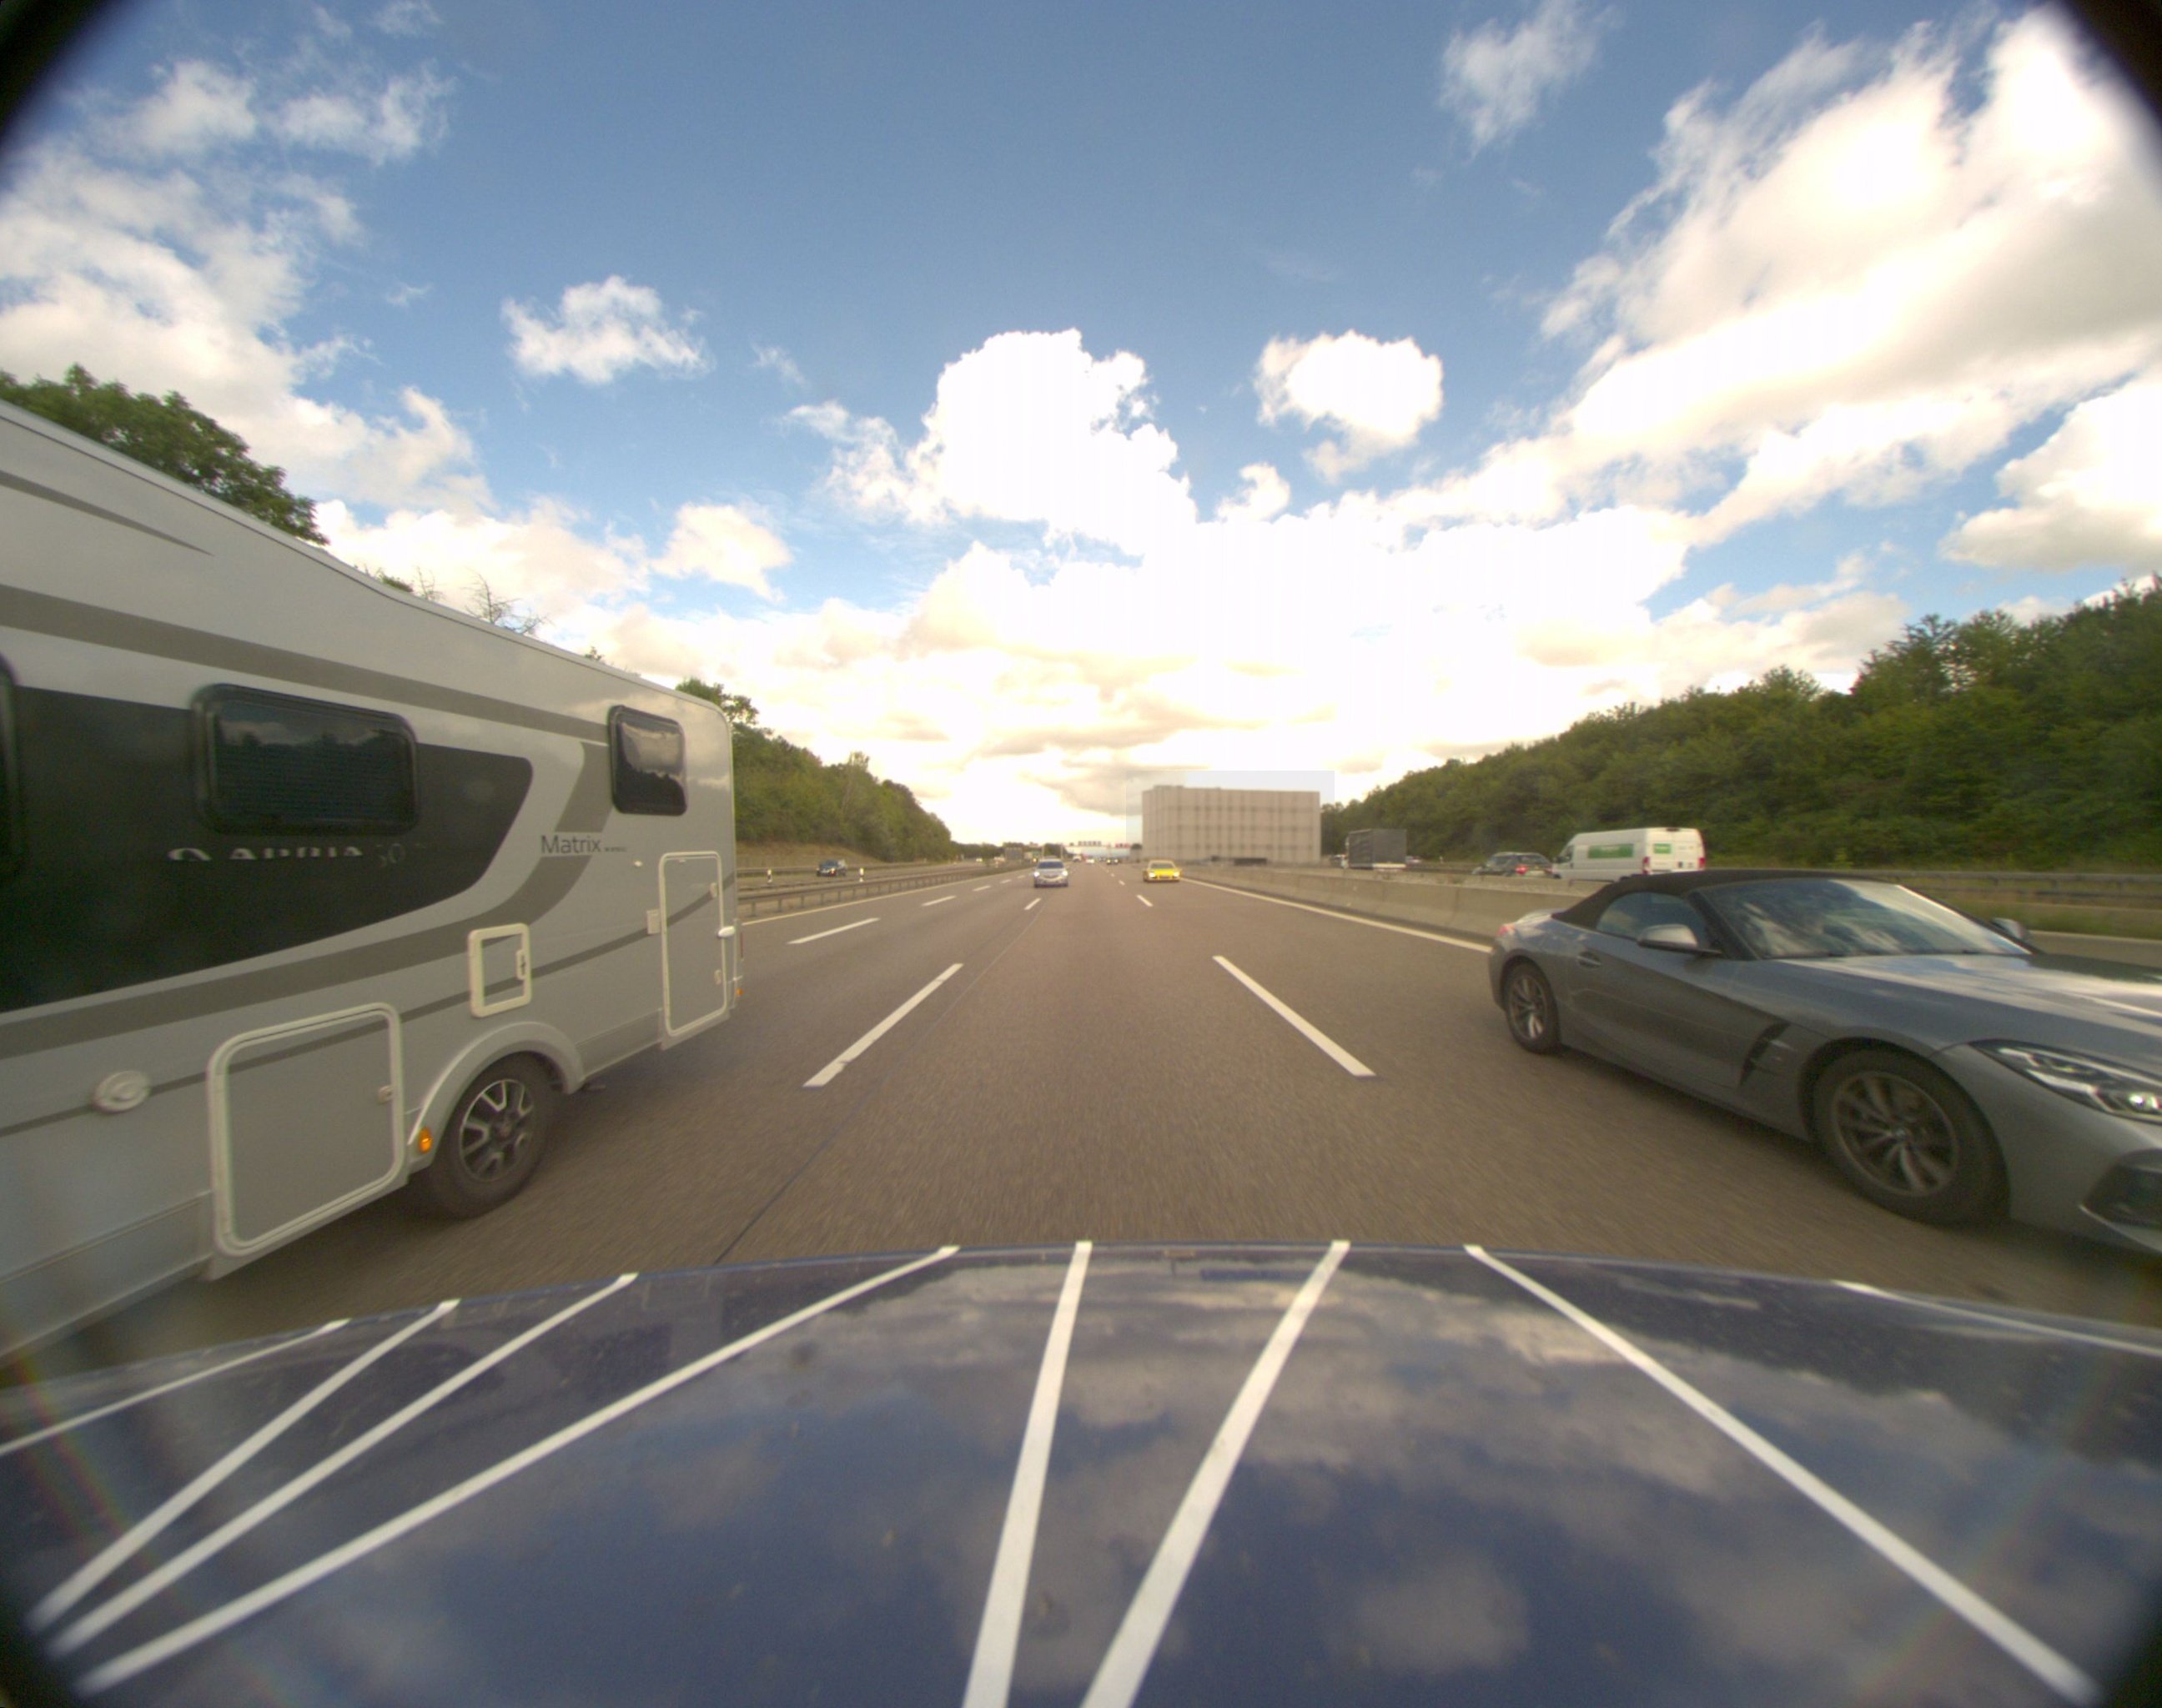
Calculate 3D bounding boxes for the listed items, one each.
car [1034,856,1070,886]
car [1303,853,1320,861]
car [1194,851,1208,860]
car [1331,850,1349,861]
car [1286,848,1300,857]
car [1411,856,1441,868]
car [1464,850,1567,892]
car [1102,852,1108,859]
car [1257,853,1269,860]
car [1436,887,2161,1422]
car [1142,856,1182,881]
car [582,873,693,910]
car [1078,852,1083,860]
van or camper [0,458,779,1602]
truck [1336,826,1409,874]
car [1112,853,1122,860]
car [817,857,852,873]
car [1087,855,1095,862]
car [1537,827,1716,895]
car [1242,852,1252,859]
[{"bbox_3d":[-1.505,0.861,41.015,1.687,1.476,4.616,-1,0,0],"label":"car"},{"bbox_3d":[46.436,0.670,153.154,1.739,1.624,4.947,0,0,0],"label":"car"},{"bbox_3d":[22.565,0.304,142.870,1.839,1.775,5.503,0,0,0],"label":"car"},{"bbox_3d":[44.264,0.248,130.064,1.596,1.747,4.282,0,0,0],"label":"car"},{"bbox_3d":[52.162,-0.355,186.863,1.998,2.301,5.685,0,0,2],"label":"car"},{"bbox_3d":[42.063,0.975,92.723,1.596,1.485,4.509,0,0,0],"label":"car"},{"bbox_3d":[16.800,0.616,29.620,1.741,1.502,4.051,-1,0,0],"label":"car"},{"bbox_3d":[7.486,0.482,236.694,1.998,2.002,4.589,0,0,1],"label":"car"},{"bbox_3d":[39.476,0.598,164.963,1.662,1.435,4.323,0,0,0],"label":"car"},{"bbox_3d":[4.033,0.955,4.175,1.878,1.295,4.942,-1,0,1],"label":"car"},{"bbox_3d":[4.550,0.804,43.081,1.811,1.307,4.247,1,0,0],"label":"car"},{"bbox_3d":[-16.675,1.374,28.799,1.716,1.175,4.169,-1,0,0],"label":"car"},{"bbox_3d":[-0.165,0.576,248.456,1.854,2.565,5.412,0,0,0],"label":"car"},{"bbox_3d":[-3.798,0.435,2.408,2.475,2.706,7.661,-2,0,1],"label":"van or camper"},{"bbox_3d":[21.155,-0.296,55.582,2.359,3.244,7.825,-1,0,0],"label":"truck"},{"bbox_3d":[6.335,0.438,135.501,1.593,1.307,3.978,1,0,0],"label":"car"},{"bbox_3d":[-21.934,0.969,67.815,1.716,1.407,4.169,0,0,1],"label":"car"},{"bbox_3d":[2.130,1.000,164.083,1.736,1.608,4.000,-1,0,1],"label":"car"},{"bbox_3d":[20.285,0.239,28.787,2.169,2.258,6.460,-1,0,0],"label":"car"},{"bbox_3d":[40.257,0.330,184.527,1.662,1.637,4.000,0,0,0],"label":"car"}]
